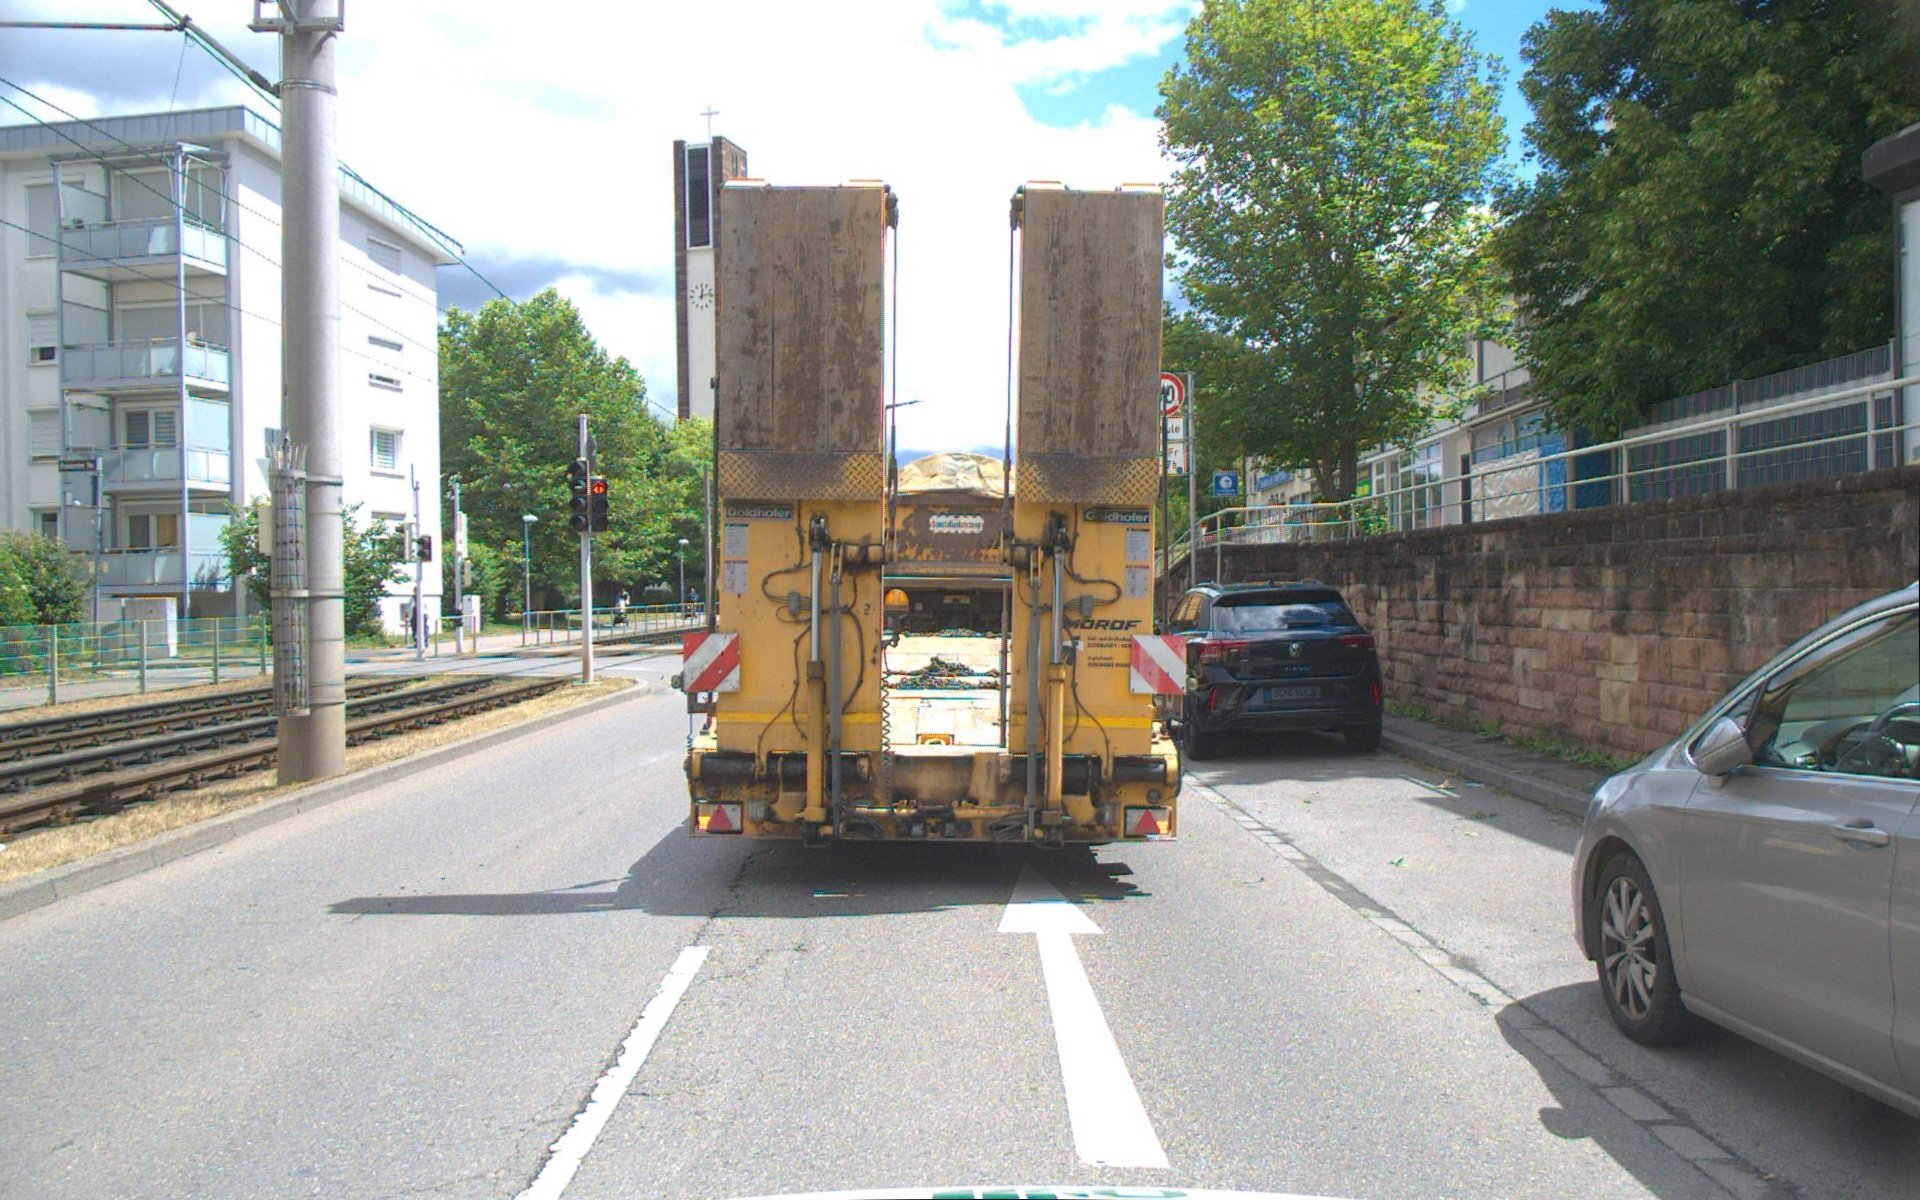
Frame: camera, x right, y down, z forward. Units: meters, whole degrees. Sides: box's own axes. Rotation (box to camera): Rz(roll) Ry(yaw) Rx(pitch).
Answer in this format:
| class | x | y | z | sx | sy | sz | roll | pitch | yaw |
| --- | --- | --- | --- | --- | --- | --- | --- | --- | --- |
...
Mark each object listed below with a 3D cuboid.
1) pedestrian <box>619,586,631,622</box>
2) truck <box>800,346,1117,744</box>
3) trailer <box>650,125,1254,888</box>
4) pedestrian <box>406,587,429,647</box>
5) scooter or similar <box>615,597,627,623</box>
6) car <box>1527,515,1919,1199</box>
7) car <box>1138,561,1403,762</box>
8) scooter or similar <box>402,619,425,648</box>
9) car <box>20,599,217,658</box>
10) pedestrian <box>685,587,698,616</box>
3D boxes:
| class | x | y | z | sx | sy | sz | roll | pitch | yaw |
| --- | --- | --- | --- | --- | --- | --- | --- | --- | --- |
| pedestrian | -14.300 | 0.166 | 70.650 | 0.341 | 1.564 | 0.557 | -1 | 0 | 3 |
| truck | -0.026 | -0.527 | 17.652 | 2.882 | 3.635 | 4.876 | -1 | 0 | 0 |
| trailer | -0.026 | -0.489 | 12.345 | 2.885 | 3.664 | 8.684 | -1 | 0 | 0 |
| pedestrian | -14.578 | 0.461 | 44.455 | 0.428 | 1.608 | 0.475 | -1 | 0 | 4 |
| scooter or similar | -14.355 | 0.410 | 69.999 | 0.331 | 1.076 | 0.688 | -1 | 0 | 2 |
| car | 3.138 | 0.592 | 4.259 | 1.754 | 1.646 | 4.247 | -2 | 0 | -2 |
| car | 2.887 | 0.518 | 16.242 | 1.813 | 1.668 | 4.000 | -2 | 0 | 0 |
| scooter or similar | -14.514 | 0.888 | 43.959 | 0.428 | 0.760 | 0.475 | -1 | 0 | 4 |
| car | -20.614 | 0.690 | 40.610 | 3.902 | 1.369 | 1.903 | -1 | 0 | 7 |
| pedestrian | -14.171 | 0.076 | 87.296 | 0.552 | 1.540 | 0.645 | 1 | 0 | -2 |
